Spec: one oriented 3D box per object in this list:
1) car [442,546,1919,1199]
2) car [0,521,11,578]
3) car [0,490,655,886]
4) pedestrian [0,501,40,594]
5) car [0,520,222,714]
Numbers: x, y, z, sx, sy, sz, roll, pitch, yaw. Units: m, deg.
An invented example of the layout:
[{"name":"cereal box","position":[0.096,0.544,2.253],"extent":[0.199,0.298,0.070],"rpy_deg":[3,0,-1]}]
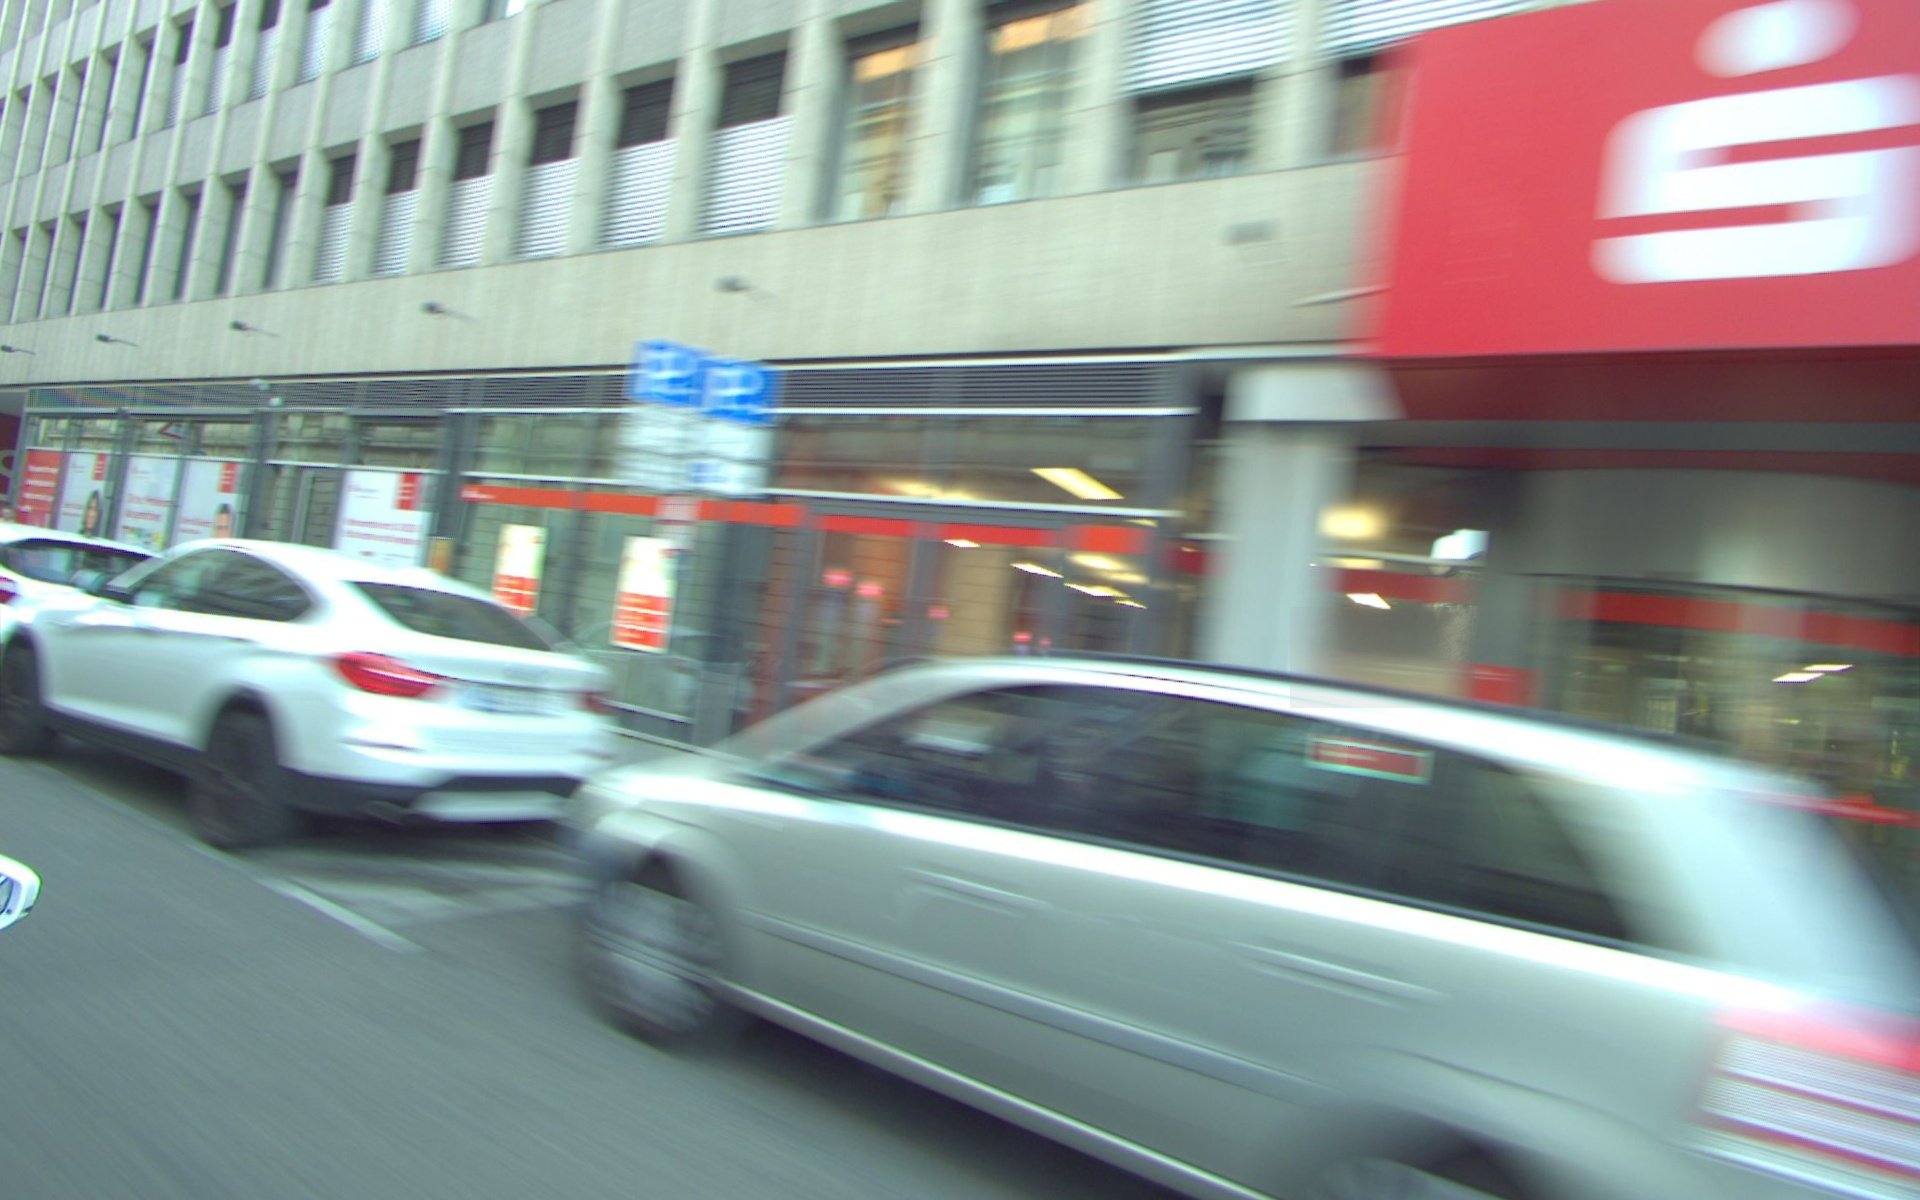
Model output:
[{"name":"car","position":[0.399,0.943,3.676],"extent":[4.636,1.614,1.746],"rpy_deg":[7,-5,32]},{"name":"car","position":[-13.677,-0.519,12.311],"extent":[4.370,1.462,1.663],"rpy_deg":[6,-5,30]},{"name":"car","position":[-4.486,0.399,6.617],"extent":[4.731,1.683,1.783],"rpy_deg":[6,-5,29]},{"name":"pedestrian","position":[-17.777,-0.998,18.715],"extent":[0.639,1.655,0.649],"rpy_deg":[7,-1,30]},{"name":"car","position":[-8.970,0.036,9.607],"extent":[3.806,1.462,1.662],"rpy_deg":[6,-5,32]}]
